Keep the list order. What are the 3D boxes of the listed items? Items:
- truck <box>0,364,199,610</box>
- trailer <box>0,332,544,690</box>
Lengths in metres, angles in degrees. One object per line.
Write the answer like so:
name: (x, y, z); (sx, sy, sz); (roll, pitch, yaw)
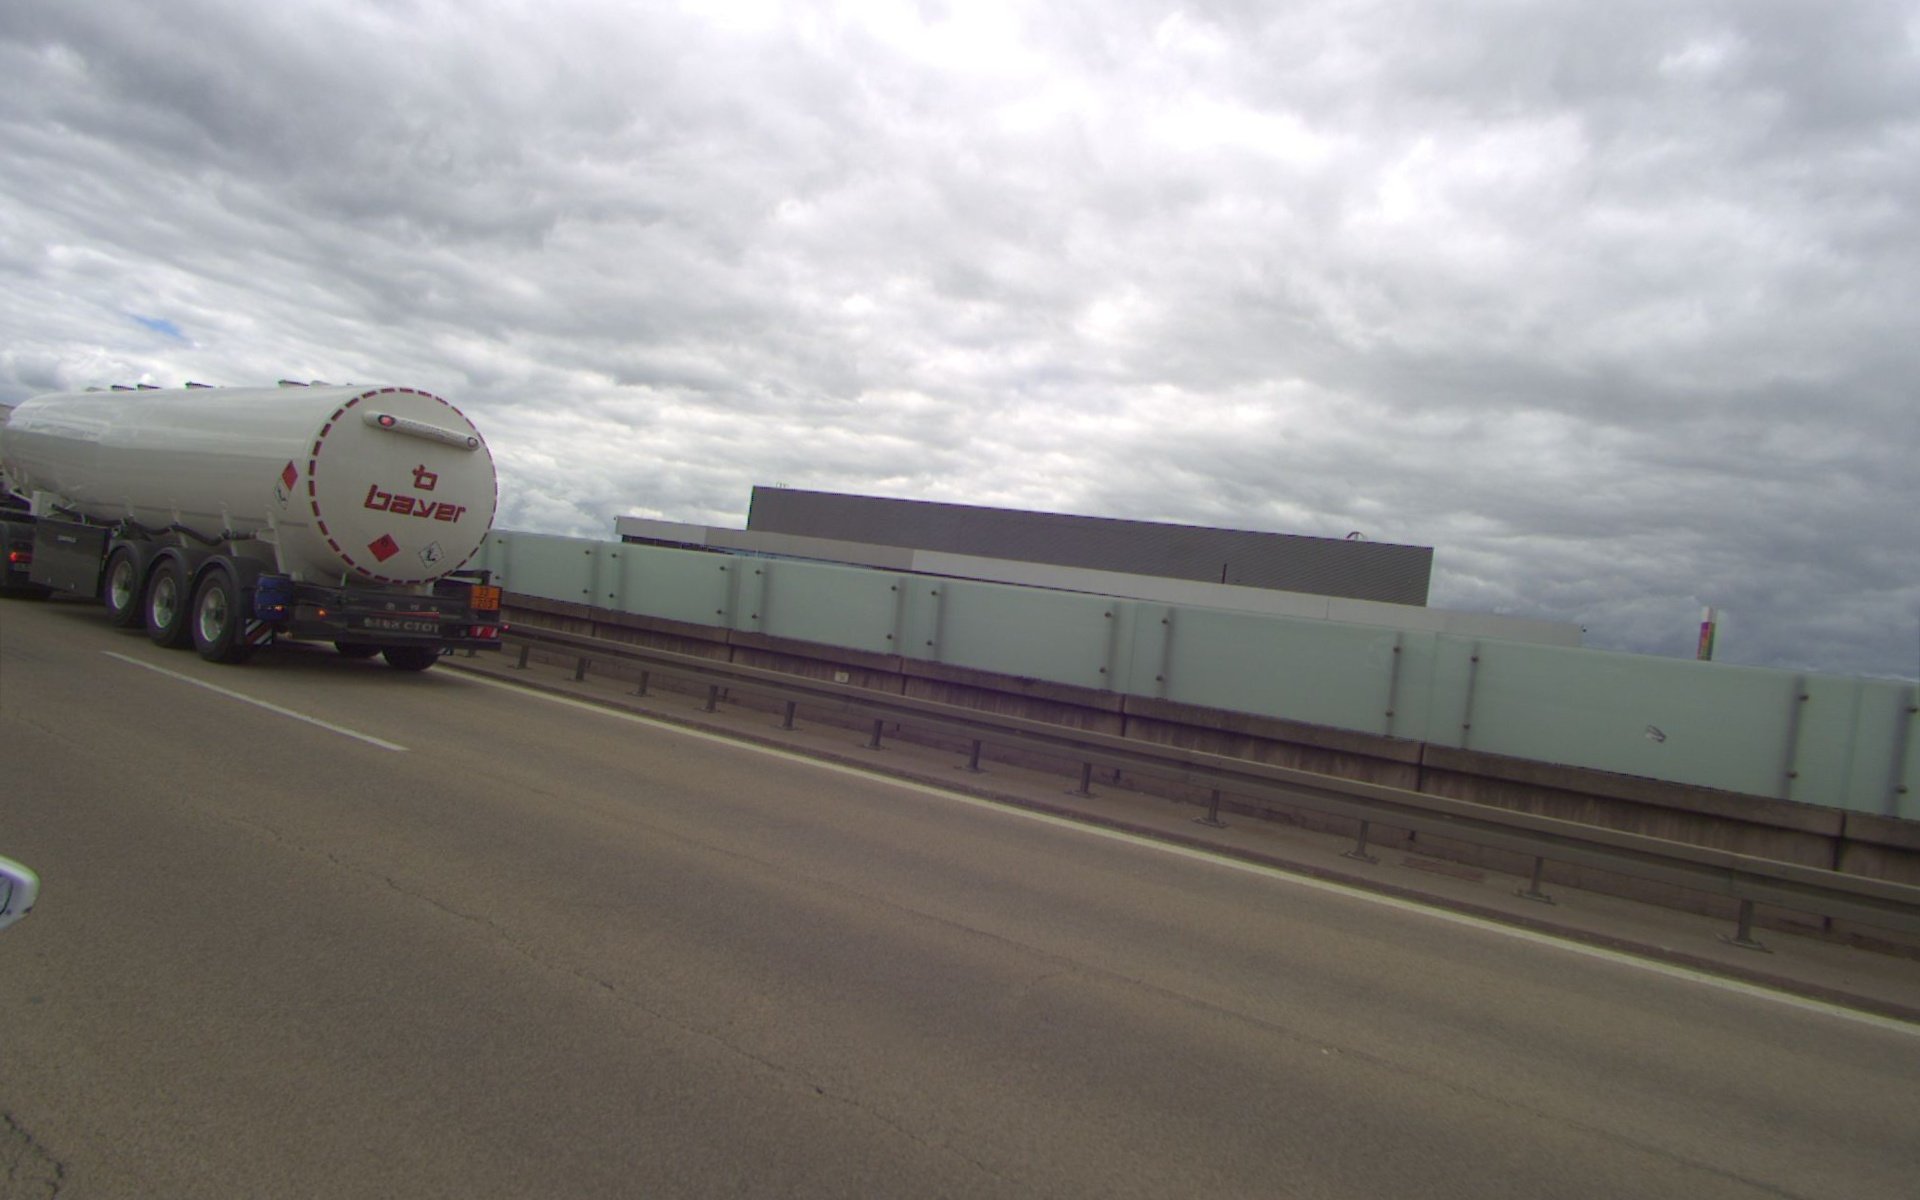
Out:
truck: (-16.336, -1.961, 17.856); (4.823, 3.554, 2.636); (7, -1, 32)
trailer: (-10.704, -1.316, 14.271); (11.035, 3.584, 2.655); (6, -2, 32)
